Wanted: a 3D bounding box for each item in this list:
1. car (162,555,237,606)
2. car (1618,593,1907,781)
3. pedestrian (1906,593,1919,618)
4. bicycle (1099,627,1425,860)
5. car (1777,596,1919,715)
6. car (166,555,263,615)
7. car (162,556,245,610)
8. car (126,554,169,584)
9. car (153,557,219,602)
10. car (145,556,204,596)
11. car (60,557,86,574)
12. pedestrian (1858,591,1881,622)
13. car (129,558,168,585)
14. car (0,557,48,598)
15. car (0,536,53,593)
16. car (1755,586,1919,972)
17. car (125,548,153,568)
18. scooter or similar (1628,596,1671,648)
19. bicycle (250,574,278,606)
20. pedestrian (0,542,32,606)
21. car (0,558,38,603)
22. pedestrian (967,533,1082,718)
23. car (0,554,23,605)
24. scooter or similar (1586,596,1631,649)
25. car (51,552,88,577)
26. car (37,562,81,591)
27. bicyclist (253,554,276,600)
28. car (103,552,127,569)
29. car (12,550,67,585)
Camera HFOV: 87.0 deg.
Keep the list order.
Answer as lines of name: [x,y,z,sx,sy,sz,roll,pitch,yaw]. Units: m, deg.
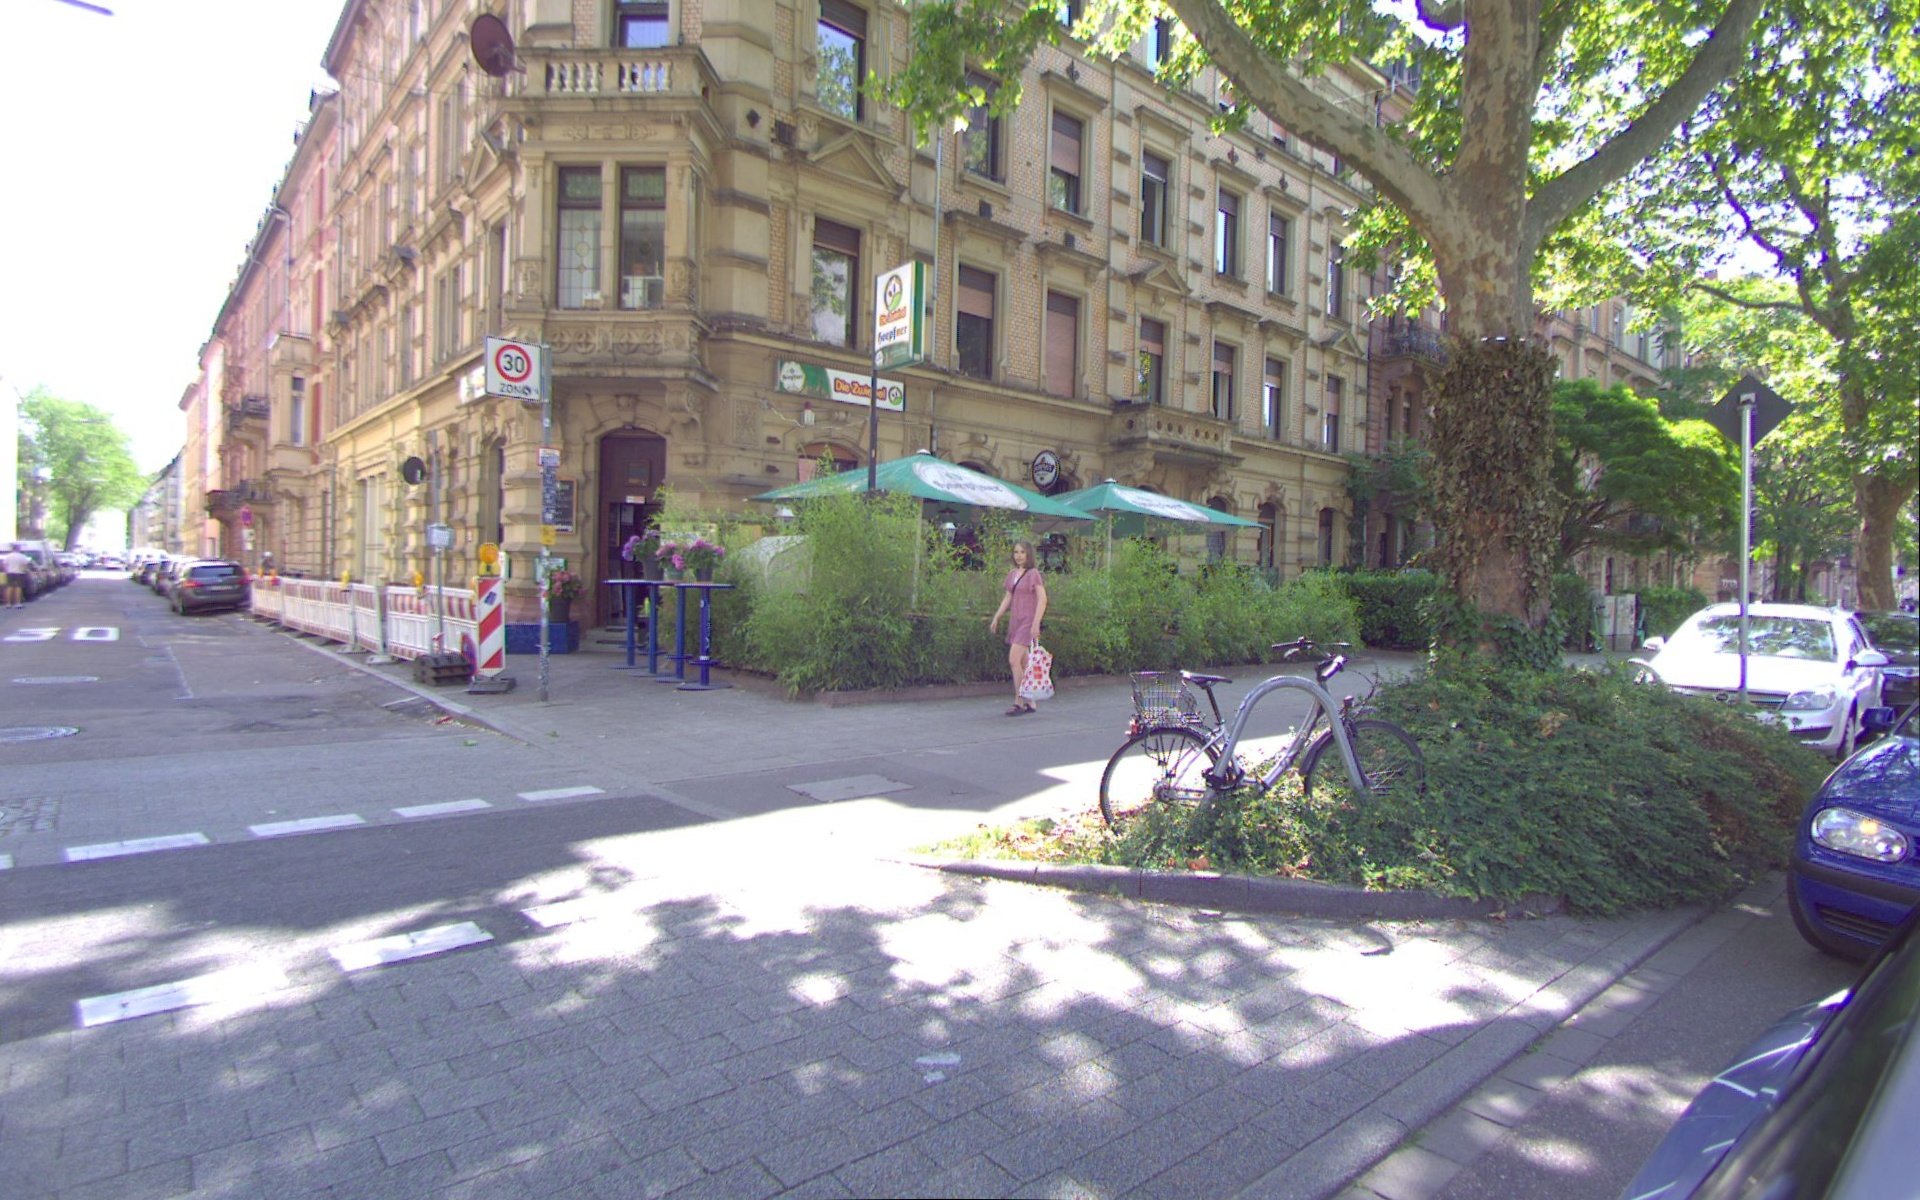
car: [-28.324,-0.743,37.645,1.965,1.760,3.995,0,1,-41]
car: [8.647,0.737,10.752,4.418,1.527,1.835,0,2,-44]
pedestrian: [66.093,0.381,69.996,0.951,1.740,0.796,1,1,-41]
bicycle: [1.570,0.724,5.302,1.583,1.119,0.423,1,1,-10]
car: [14.042,0.747,15.262,4.561,1.527,1.837,0,2,-40]
car: [-21.400,-0.462,28.994,1.965,1.571,3.995,0,2,-41]
car: [-25.321,-0.593,33.821,1.965,1.660,3.995,0,2,-41]
car: [-50.995,-1.951,63.490,1.965,1.760,3.995,0,1,-41]
car: [-32.005,-0.861,41.805,1.965,1.760,3.995,0,1,-41]
car: [-36.246,-1.132,46.679,1.965,1.760,3.995,0,1,-41]
car: [-77.409,-3.023,88.362,1.641,1.419,3.357,0,1,-40]
pedestrian: [52.008,0.347,57.864,0.951,1.740,0.796,1,1,-41]
car: [-55.694,-1.957,69.411,1.965,1.760,3.995,0,1,-41]
car: [-38.019,-0.928,40.862,1.698,1.548,3.490,1,1,-41]
car: [-41.393,-1.558,44.607,1.879,2.403,4.244,1,1,-39]
car: [5.483,0.699,4.518,4.014,1.427,1.889,1,1,-34]
car: [-75.787,-3.832,93.402,1.965,1.760,3.995,1,1,-41]
scooter or similar: [17.949,0.570,26.333,1.124,1.298,0.583,1,1,-39]
bicycle: [-22.360,-0.321,32.523,0.530,0.991,1.307,1,1,-44]
pedestrian: [-27.512,-0.750,29.310,0.921,1.821,1.036,1,1,-44]
car: [-34.212,-0.725,36.236,1.698,1.548,3.490,0,1,-42]
pedestrian: [0.662,0.236,10.449,0.837,1.807,0.738,1,3,-41]
car: [-30.738,-0.680,31.862,1.698,1.548,3.490,1,1,-41]
scooter or similar: [15.829,0.540,24.700,1.124,1.263,0.583,1,1,-40]
car: [-64.435,-2.594,73.259,1.879,1.731,4.157,1,1,-40]
car: [-57.826,-1.513,64.982,1.879,1.731,4.159,1,1,-39]
bicyclist: [-22.392,-0.733,32.563,0.524,1.471,0.460,1,1,-44]
car: [-93.836,-4.367,112.321,1.965,1.760,3.995,1,1,-41]
car: [-48.613,-1.733,53.527,1.879,1.731,4.159,1,1,-39]
